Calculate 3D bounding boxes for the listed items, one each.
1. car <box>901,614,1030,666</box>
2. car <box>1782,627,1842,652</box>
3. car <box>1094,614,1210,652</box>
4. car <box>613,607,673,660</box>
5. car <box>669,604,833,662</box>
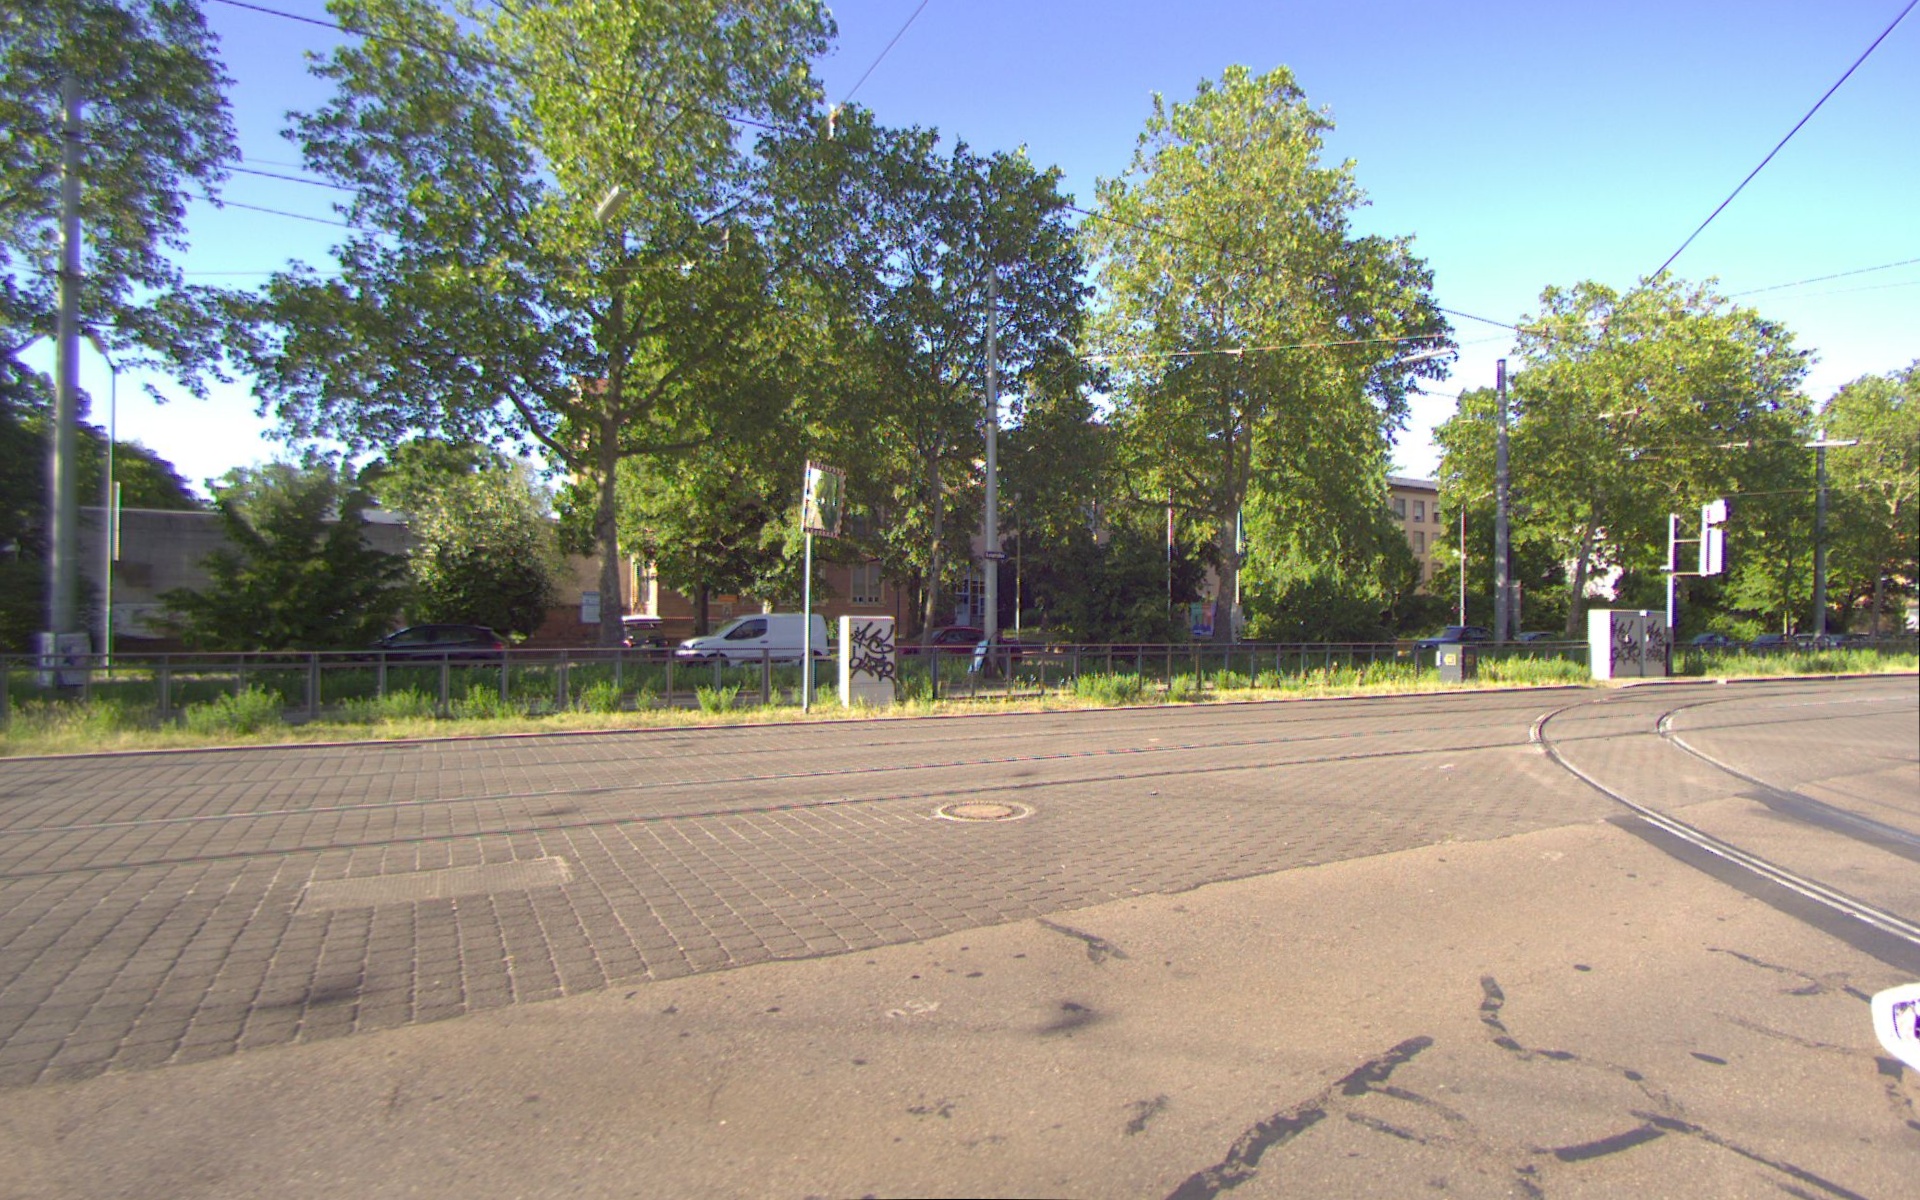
[{"bbox_3d":[0.190,1.231,31.799,3.770,1.491,1.587,1,2,-25],"label":"car"},{"bbox_3d":[50.535,2.314,59.584,3.460,1.330,1.561,0,2,-29],"label":"car"},{"bbox_3d":[6.559,1.106,34.232,3.716,1.237,1.614,1,-1,-28],"label":"car"},{"bbox_3d":[-11.703,1.188,36.955,1.594,1.841,3.925,1,-1,-25],"label":"car"},{"bbox_3d":[-5.962,0.903,28.778,4.292,1.491,1.734,0,2,-28],"label":"car"}]
